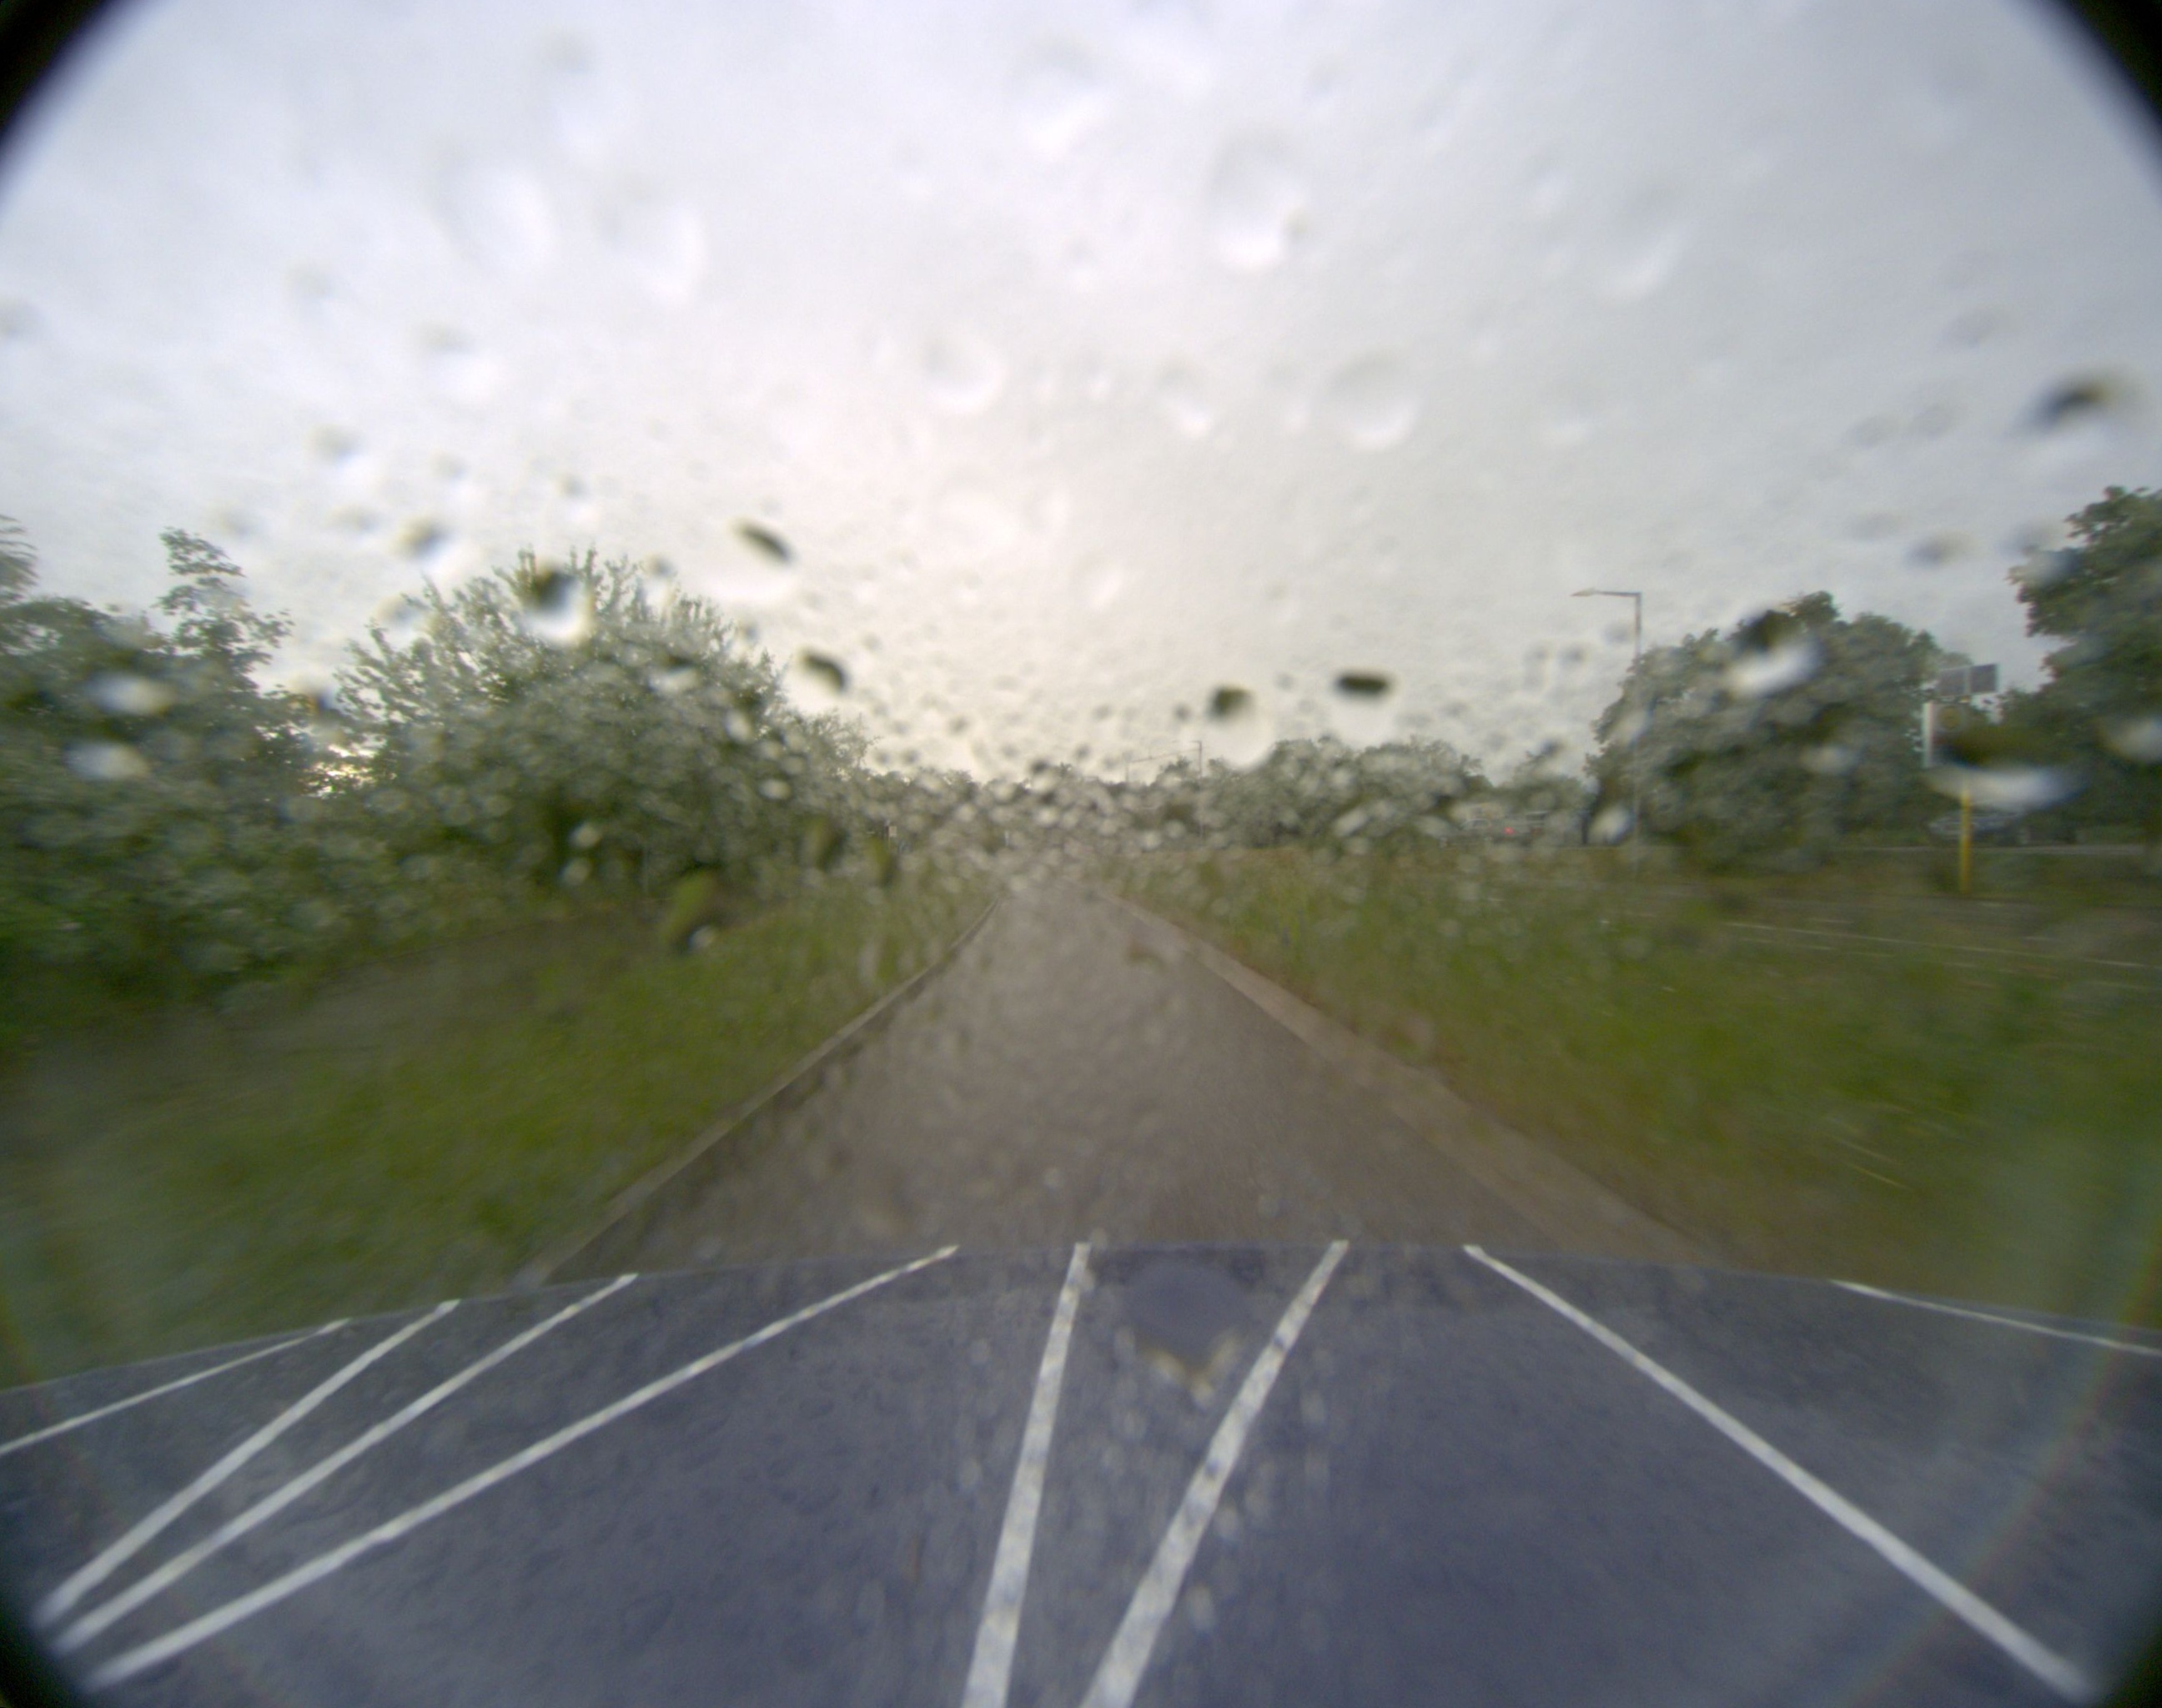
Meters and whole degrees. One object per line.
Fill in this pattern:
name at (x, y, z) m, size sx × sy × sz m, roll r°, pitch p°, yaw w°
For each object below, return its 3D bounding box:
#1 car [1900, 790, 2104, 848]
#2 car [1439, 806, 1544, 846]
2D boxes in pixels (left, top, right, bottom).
car at (26.063, -0.959, 21.570) m, size 4.000 × 1.356 × 1.898 m, roll -4°, pitch 1°, yaw -8°
car at (18.709, -1.226, 34.890) m, size 1.697 × 1.559 × 4.537 m, roll -4°, pitch 0°, yaw -11°
